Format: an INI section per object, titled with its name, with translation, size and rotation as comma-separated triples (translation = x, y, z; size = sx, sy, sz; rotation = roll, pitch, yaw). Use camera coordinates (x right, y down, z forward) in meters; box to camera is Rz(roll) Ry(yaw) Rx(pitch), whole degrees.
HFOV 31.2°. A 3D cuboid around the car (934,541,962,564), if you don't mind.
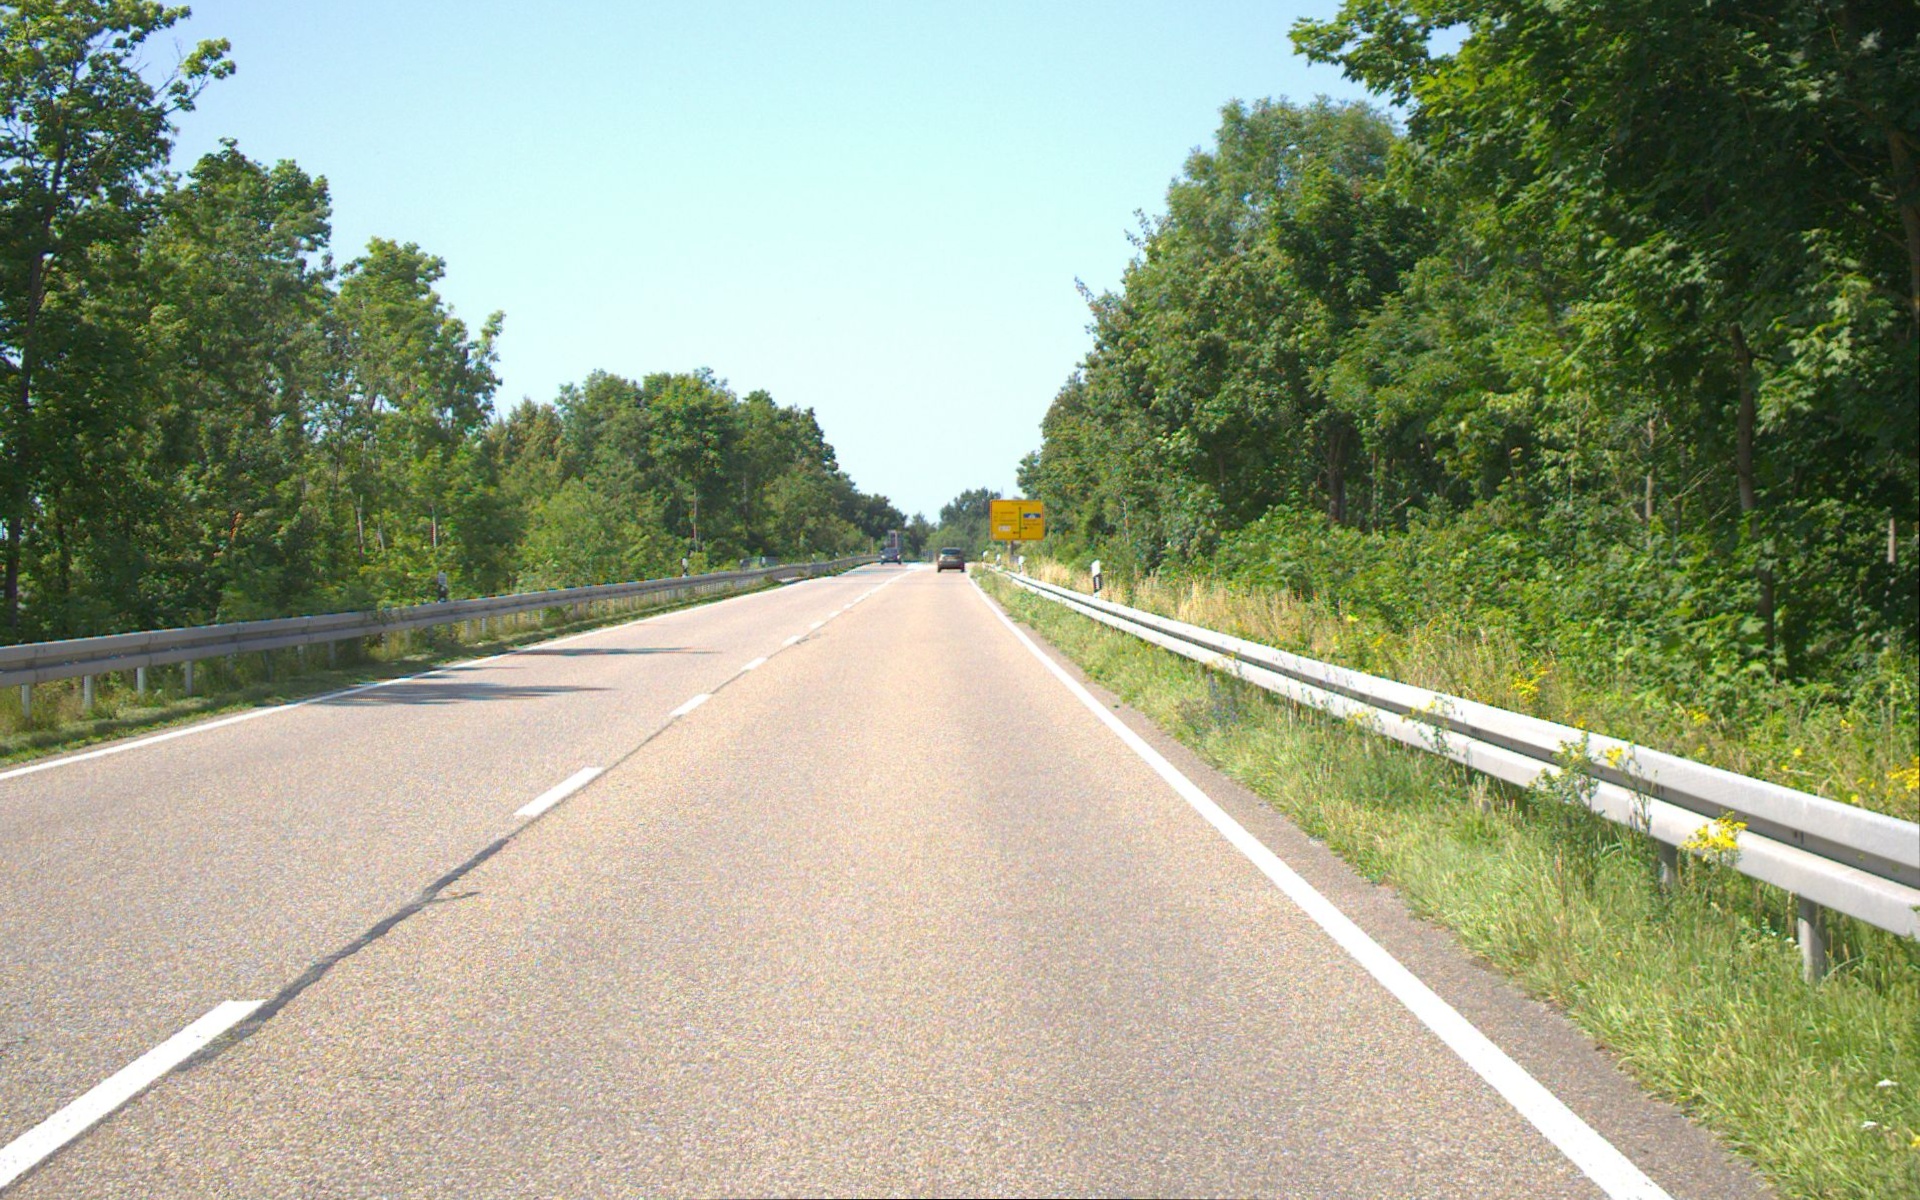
[car]
translation = -0.781, -3.062, 222.564
size = 1.741, 1.465, 3.692
rotation = 0, 1, 1
